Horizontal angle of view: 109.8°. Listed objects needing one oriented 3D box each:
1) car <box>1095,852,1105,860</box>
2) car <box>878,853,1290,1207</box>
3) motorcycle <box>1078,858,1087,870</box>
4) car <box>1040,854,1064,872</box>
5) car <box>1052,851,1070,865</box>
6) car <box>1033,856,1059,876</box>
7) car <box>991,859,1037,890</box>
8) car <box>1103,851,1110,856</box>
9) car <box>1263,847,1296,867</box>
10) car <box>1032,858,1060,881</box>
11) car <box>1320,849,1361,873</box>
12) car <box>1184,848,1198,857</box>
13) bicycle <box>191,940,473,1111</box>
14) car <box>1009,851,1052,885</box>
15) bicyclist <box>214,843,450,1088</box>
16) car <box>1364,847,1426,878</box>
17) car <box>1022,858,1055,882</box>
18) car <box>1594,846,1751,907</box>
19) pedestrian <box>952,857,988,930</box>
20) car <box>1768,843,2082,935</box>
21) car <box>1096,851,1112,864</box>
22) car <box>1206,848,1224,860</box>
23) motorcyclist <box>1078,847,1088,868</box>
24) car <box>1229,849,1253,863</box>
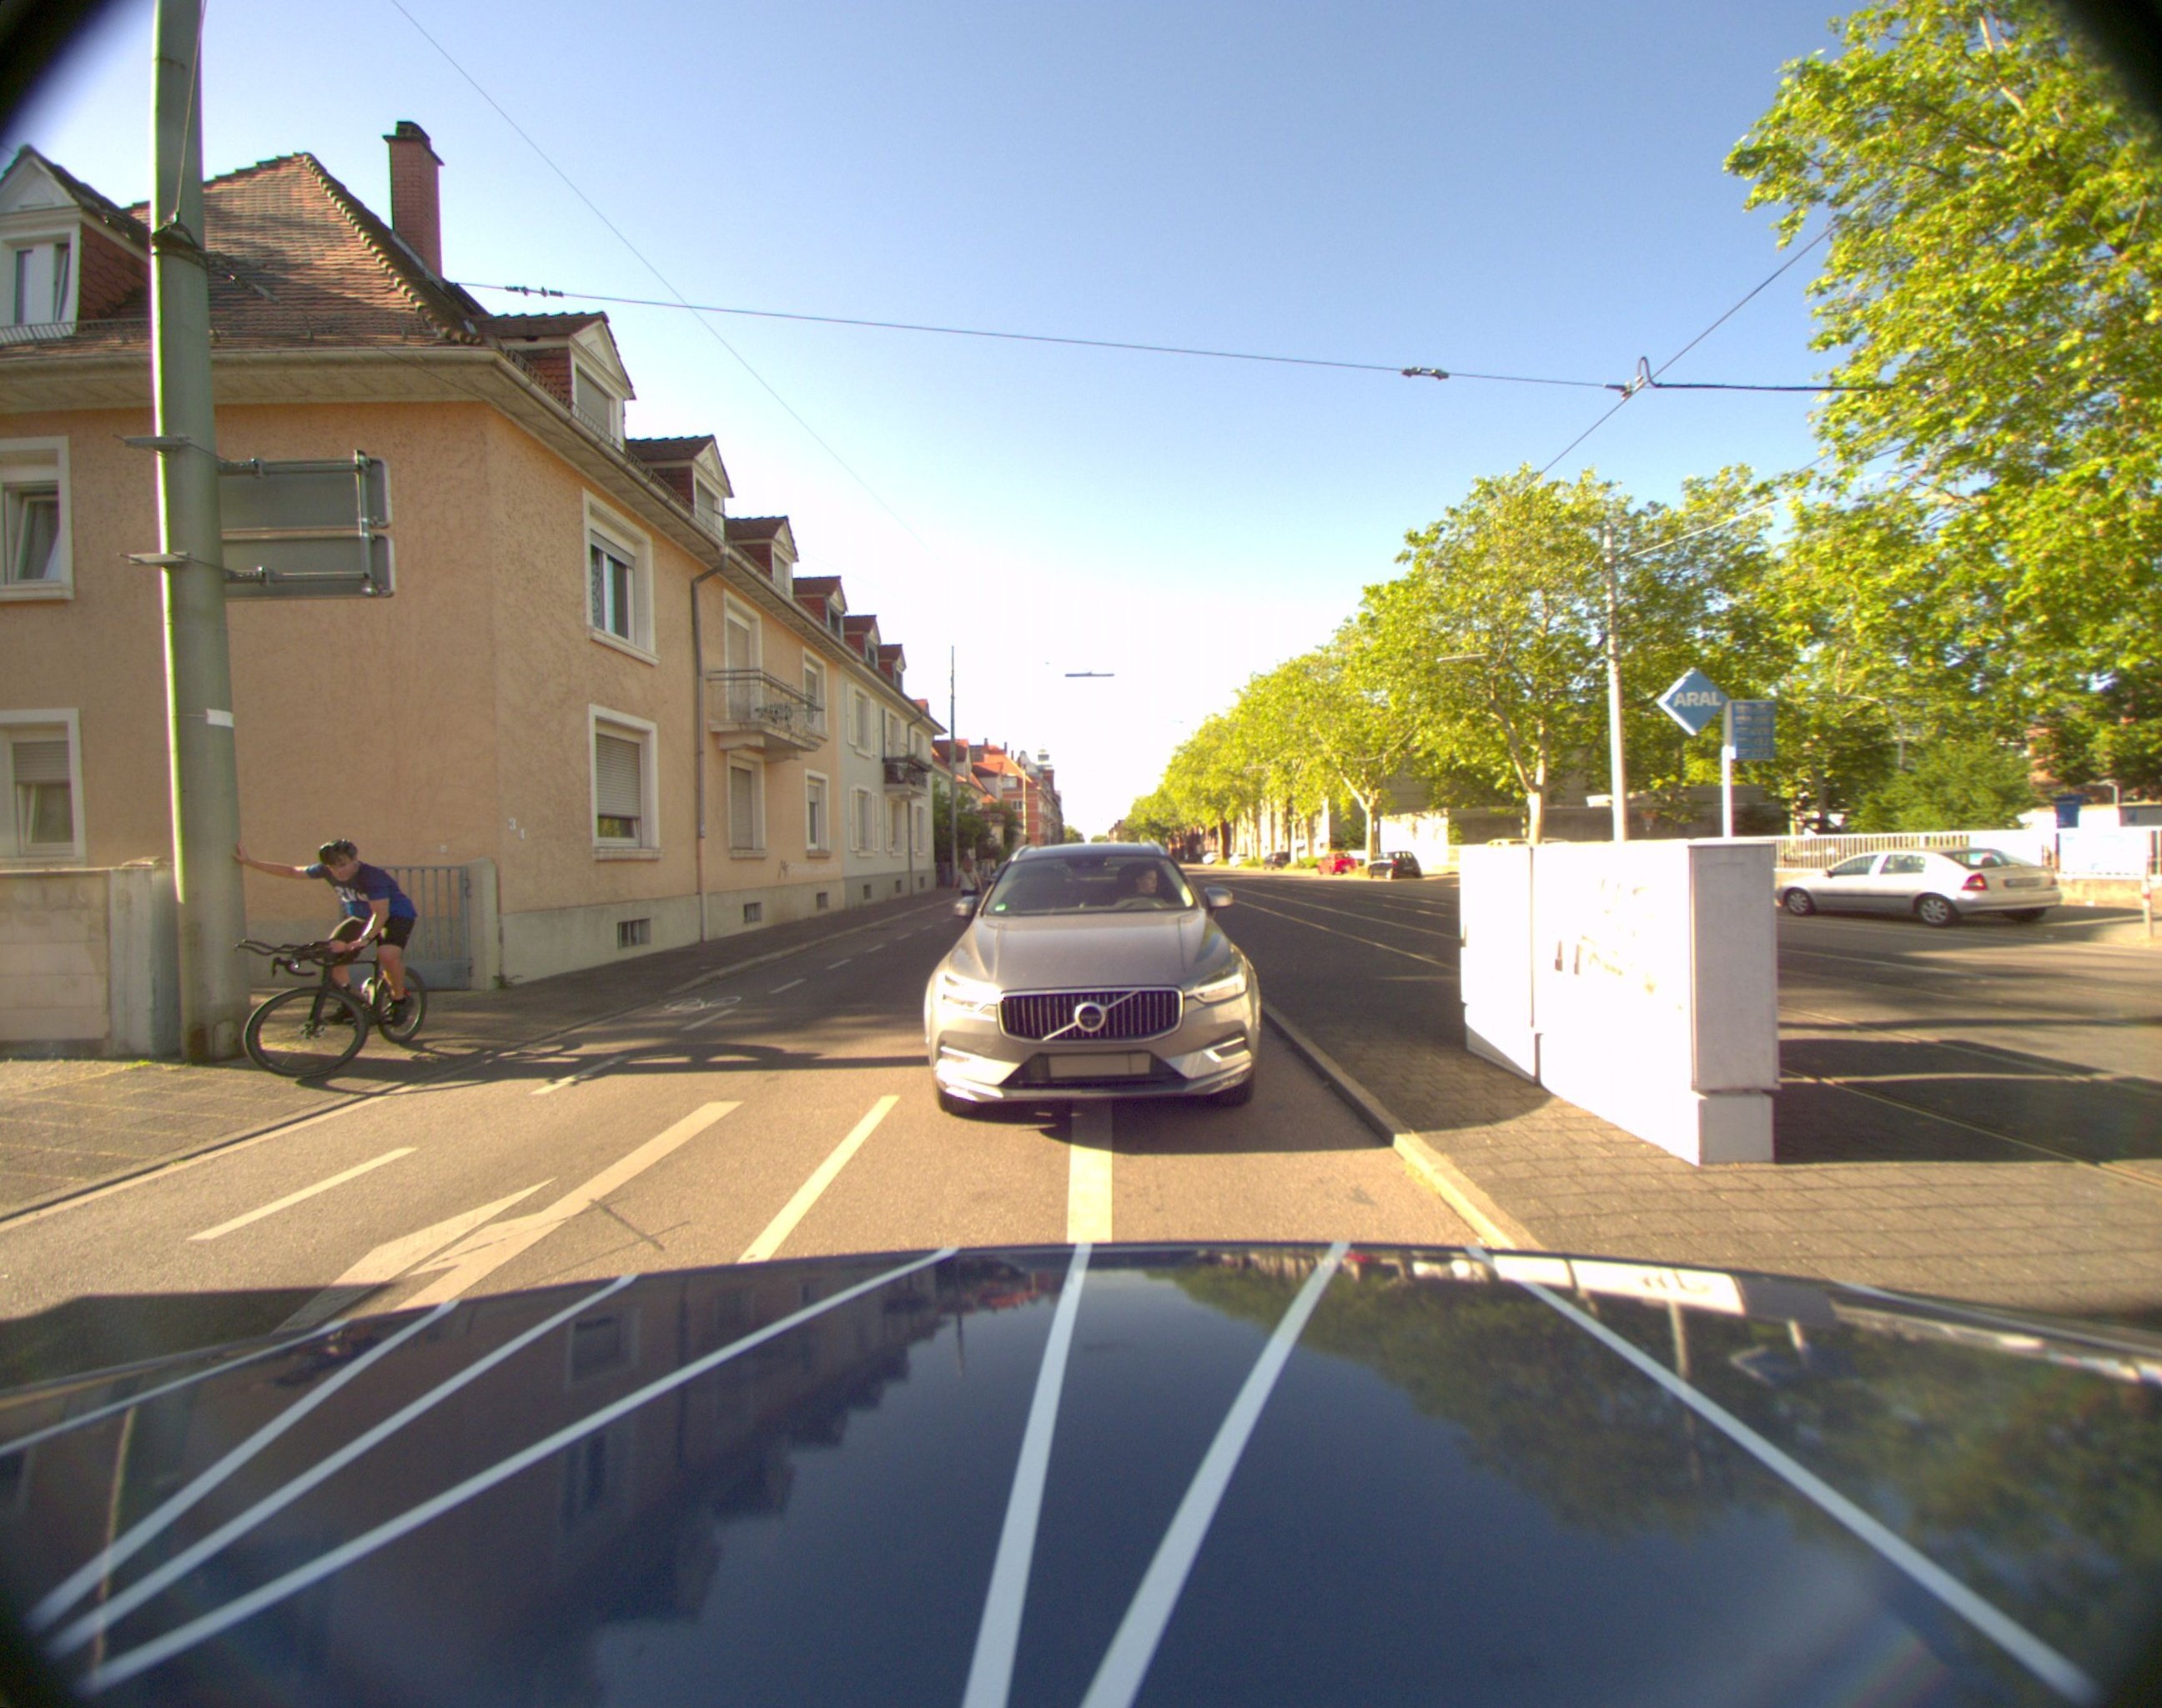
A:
[{"bbox_3d":[3.822,0.413,152.154,1.998,1.543,4.000,-1,0,1],"label":"car"},{"bbox_3d":[0.043,0.848,5.809,1.940,1.650,4.321,-1,0,1],"label":"car"},{"bbox_3d":[0.176,0.914,68.899,0.792,1.095,2.519,0,0,1],"label":"motorcycle"},{"bbox_3d":[-2.558,0.758,66.837,1.875,1.477,4.000,-1,0,1],"label":"car"},{"bbox_3d":[-2.200,0.439,85.499,1.875,1.477,4.000,-1,0,1],"label":"car"},{"bbox_3d":[-2.748,0.937,60.683,1.785,1.468,4.000,-1,0,1],"label":"car"},{"bbox_3d":[-3.208,0.958,37.033,1.647,1.357,3.868,-1,0,4],"label":"car"},{"bbox_3d":[8.565,-0.183,254.299,1.998,1.652,4.000,-1,0,1],"label":"car"},{"bbox_3d":[17.199,0.278,66.048,1.802,1.652,4.000,-1,0,1],"label":"car"},{"bbox_3d":[-2.463,1.077,54.447,1.785,1.468,4.000,-1,0,1],"label":"car"},{"bbox_3d":[16.946,0.428,49.757,1.641,1.499,3.046,-1,0,1],"label":"car"},{"bbox_3d":[18.201,-0.235,125.635,1.802,1.504,4.000,-1,0,1],"label":"car"},{"bbox_3d":[-5.941,1.299,6.184,0.572,0.986,1.698,2,0,1],"label":"bicycle"},{"bbox_3d":[-2.786,0.709,42.893,1.751,1.767,5.351,-1,0,3],"label":"car"},{"bbox_3d":[-6.146,0.858,6.298,1.076,1.854,0.846,2,1,1],"label":"bicyclist"},{"bbox_3d":[16.885,0.416,40.987,1.826,1.521,3.653,-2,0,1],"label":"car"},{"bbox_3d":[-2.680,0.984,48.311,1.785,1.346,4.000,-1,0,1],"label":"car"},{"bbox_3d":[16.433,0.571,21.347,1.692,1.455,3.519,-4,0,2],"label":"car"},{"bbox_3d":[-2.617,0.912,18.003,0.695,1.652,1.098,-2,1,-4],"label":"pedestrian"},{"bbox_3d":[16.247,0.593,14.998,1.795,1.455,3.966,-4,0,2],"label":"car"},{"bbox_3d":[2.954,0.464,98.924,1.998,1.543,4.000,-1,0,1],"label":"car"},{"bbox_3d":[17.737,-0.023,100.678,1.802,1.504,4.000,-1,0,1],"label":"car"},{"bbox_3d":[0.175,0.342,68.923,0.827,1.832,1.159,-2,1,1],"label":"motorcyclist"},{"bbox_3d":[17.550,0.211,83.434,1.802,1.489,4.000,-1,0,1],"label":"car"}]
